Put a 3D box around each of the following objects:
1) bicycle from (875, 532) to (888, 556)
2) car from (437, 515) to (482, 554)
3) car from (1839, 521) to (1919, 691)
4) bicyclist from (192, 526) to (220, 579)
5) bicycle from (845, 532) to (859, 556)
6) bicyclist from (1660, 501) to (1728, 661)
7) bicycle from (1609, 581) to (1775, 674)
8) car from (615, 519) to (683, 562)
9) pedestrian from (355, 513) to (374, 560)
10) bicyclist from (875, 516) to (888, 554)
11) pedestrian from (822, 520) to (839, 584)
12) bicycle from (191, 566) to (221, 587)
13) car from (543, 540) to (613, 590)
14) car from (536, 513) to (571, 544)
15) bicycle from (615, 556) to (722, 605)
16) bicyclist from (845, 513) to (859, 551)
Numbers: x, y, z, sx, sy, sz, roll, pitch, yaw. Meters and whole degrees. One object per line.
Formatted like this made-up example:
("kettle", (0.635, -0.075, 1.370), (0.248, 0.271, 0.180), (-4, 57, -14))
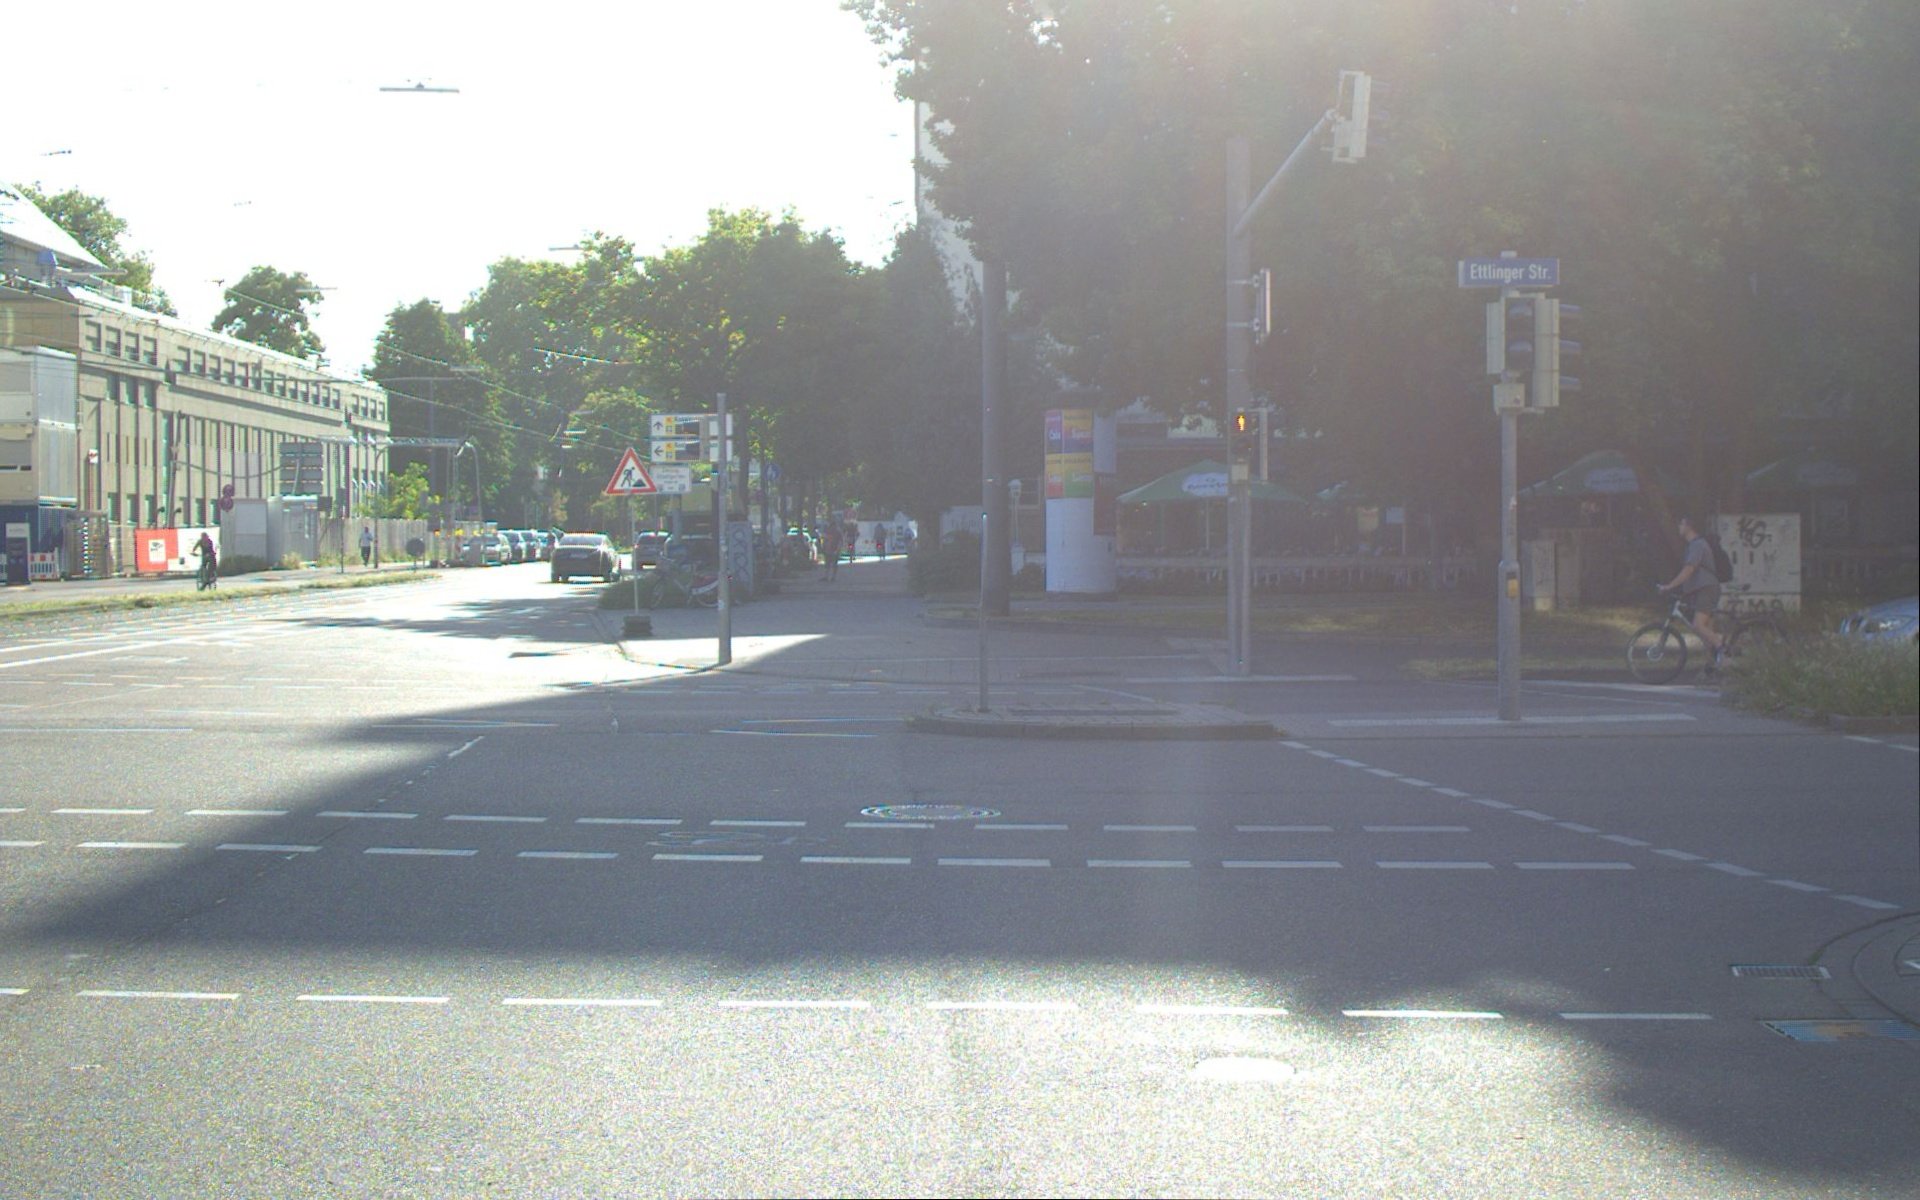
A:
("bicycle", (-3.545, -2.519, 155.096), (0.575, 1.073, 1.831), (0, 1, -1))
("car", (-22.768, -2.965, 156.442), (1.692, 1.712, 4.248), (1, 1, -4))
("car", (10.756, 0.024, 33.407), (3.993, 1.605, 1.650), (-1, 1, -1))
("bicyclist", (-19.428, -1.224, 88.595), (0.596, 1.372, 0.638), (1, 0, -2))
("bicycle", (-4.872, -2.536, 154.985), (0.575, 1.073, 1.831), (0, 1, -1))
("bicyclist", (7.757, -0.200, 36.337), (0.643, 1.677, 0.507), (0, 1, 5))
("bicycle", (7.733, 0.290, 36.363), (1.667, 0.960, 0.533), (0, 1, 5))
("car", (-12.190, -2.354, 135.120), (1.892, 1.560, 4.807), (3, 1, 3))
("pedestrian", (-25.673, -2.724, 148.227), (0.674, 2.007, 0.751), (1, 0, -3))
("bicyclist", (-3.550, -2.935, 155.122), (0.569, 1.685, 0.700), (0, 1, -1))
("pedestrian", (-3.687, -1.365, 97.738), (0.463, 1.807, 0.503), (0, 1, -5))
("bicycle", (-19.426, -0.606, 88.600), (0.501, 0.513, 1.258), (1, 1, -1))
("car", (-11.554, -1.073, 104.229), (1.660, 1.450, 4.432), (1, 1, -1))
("car", (-23.005, -4.030, 194.688), (1.692, 1.712, 4.248), (1, 1, -4))
("bicycle", (-5.727, -0.381, 67.477), (2.018, 0.888, 0.650), (-2, 0, 27))
("bicyclist", (-4.872, -3.065, 155.040), (0.569, 1.685, 0.700), (0, 1, -1))
